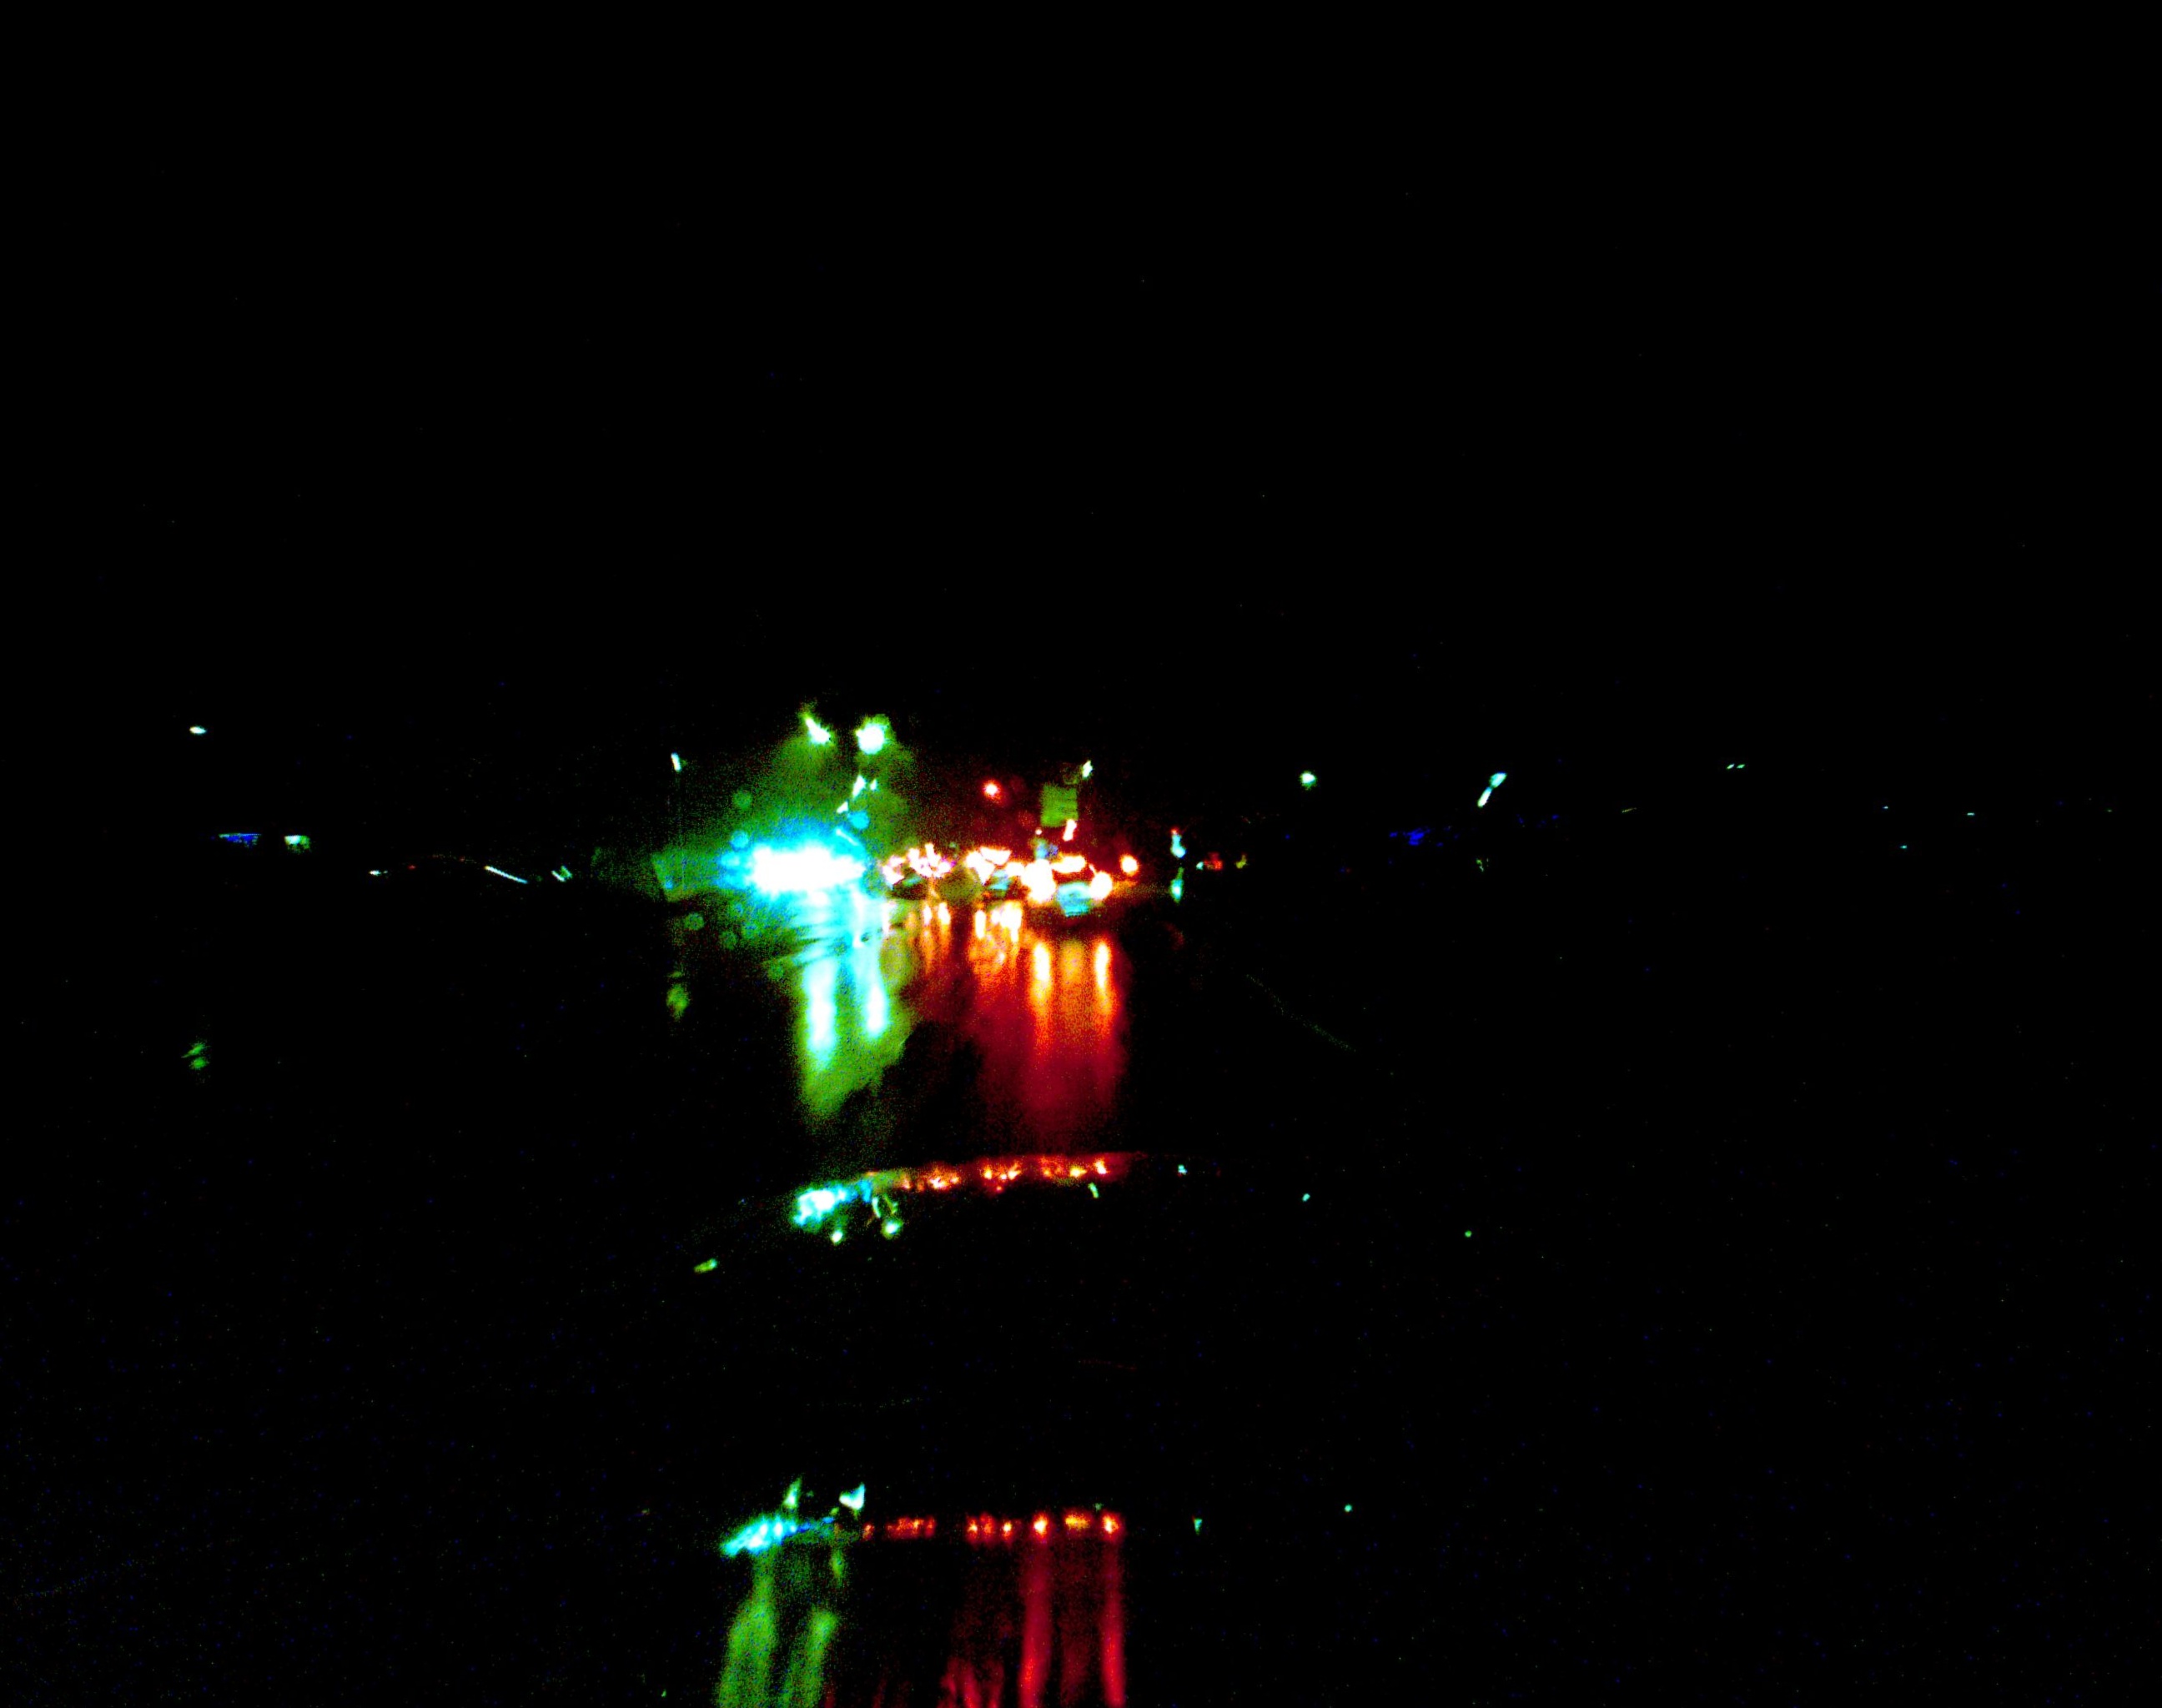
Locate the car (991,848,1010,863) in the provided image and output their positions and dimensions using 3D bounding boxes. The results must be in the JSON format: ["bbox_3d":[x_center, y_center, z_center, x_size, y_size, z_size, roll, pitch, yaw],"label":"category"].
[{"bbox_3d":[-9.423,0.172,95.210,1.991,1.627,4.975,-4,1,-6],"label":"car"}]

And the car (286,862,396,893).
[{"bbox_3d":[-42.783,1.335,47.213,4.298,1.628,1.983,-1,0,-27],"label":"car"}]

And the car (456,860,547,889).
[{"bbox_3d":[-35.860,1.254,50.553,4.298,1.628,1.983,-1,0,-27],"label":"car"}]

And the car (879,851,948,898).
[{"bbox_3d":[-6.901,0.788,34.071,1.989,1.627,4.979,-3,1,-3],"label":"car"}]

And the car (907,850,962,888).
[{"bbox_3d":[-7.280,0.690,40.965,1.989,1.627,4.979,-3,1,-3],"label":"car"}]

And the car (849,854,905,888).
[{"bbox_3d":[-11.354,0.898,45.684,1.989,1.627,4.979,-3,1,-3],"label":"car"}]

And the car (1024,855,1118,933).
[{"bbox_3d":[-0.106,0.886,19.853,1.986,1.628,4.987,-1,-1,2],"label":"car"}]

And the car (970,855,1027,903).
[{"bbox_3d":[-3.311,0.952,33.490,1.989,1.627,4.979,-3,1,-3],"label":"car"}]

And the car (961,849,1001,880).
[{"bbox_3d":[-5.965,0.598,49.096,1.989,1.627,4.979,-3,1,-3],"label":"car"}]
